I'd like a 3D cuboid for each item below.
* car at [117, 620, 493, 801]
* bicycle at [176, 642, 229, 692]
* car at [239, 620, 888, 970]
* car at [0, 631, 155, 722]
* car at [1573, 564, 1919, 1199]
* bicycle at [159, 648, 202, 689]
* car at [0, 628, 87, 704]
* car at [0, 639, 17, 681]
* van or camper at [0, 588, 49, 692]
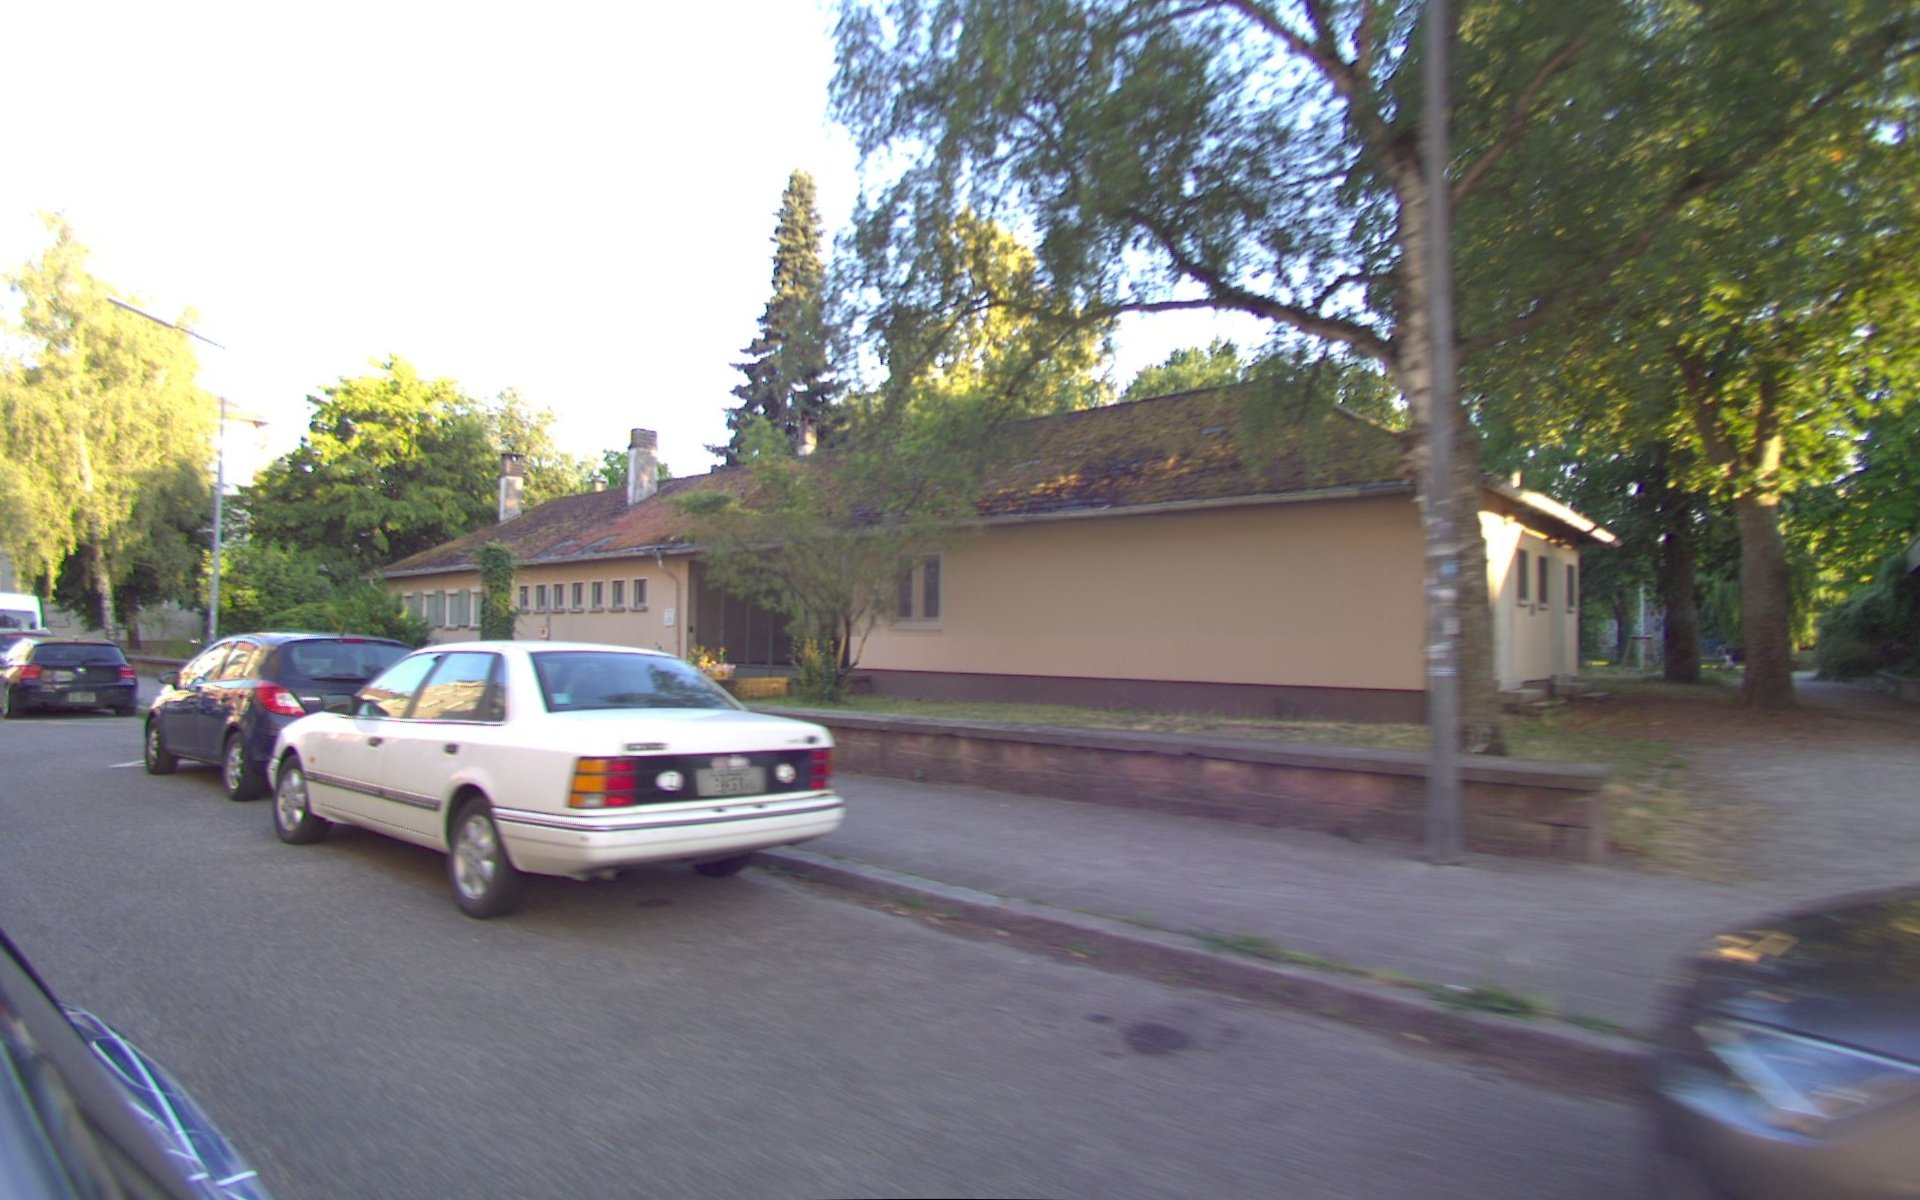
[{"bbox_3d":[-6.701,0.969,10.231,3.994,1.464,1.975,-2,-3,38],"label":"car"},{"bbox_3d":[-17.864,1.551,23.851,1.953,1.126,0.538,-2,-2,39],"label":"bicycle"},{"bbox_3d":[-2.793,0.931,6.474,4.744,1.457,1.764,-2,-5,40],"label":"car"},{"bbox_3d":[-16.327,1.300,18.340,4.286,1.464,1.973,-2,-3,41],"label":"car"},{"bbox_3d":[3.538,0.727,1.036,4.755,1.550,1.841,-2,-4,40],"label":"car"},{"bbox_3d":[-19.541,1.690,25.359,1.955,0.972,0.537,-2,-2,43],"label":"bicycle"},{"bbox_3d":[-20.887,1.398,22.195,4.786,1.530,1.973,-2,-3,41],"label":"car"},{"bbox_3d":[-29.538,1.744,29.693,4.027,1.198,1.976,-1,-2,36],"label":"car"},{"bbox_3d":[-25.459,1.035,26.185,6.078,2.476,1.973,-2,-3,40],"label":"van or camper"}]
